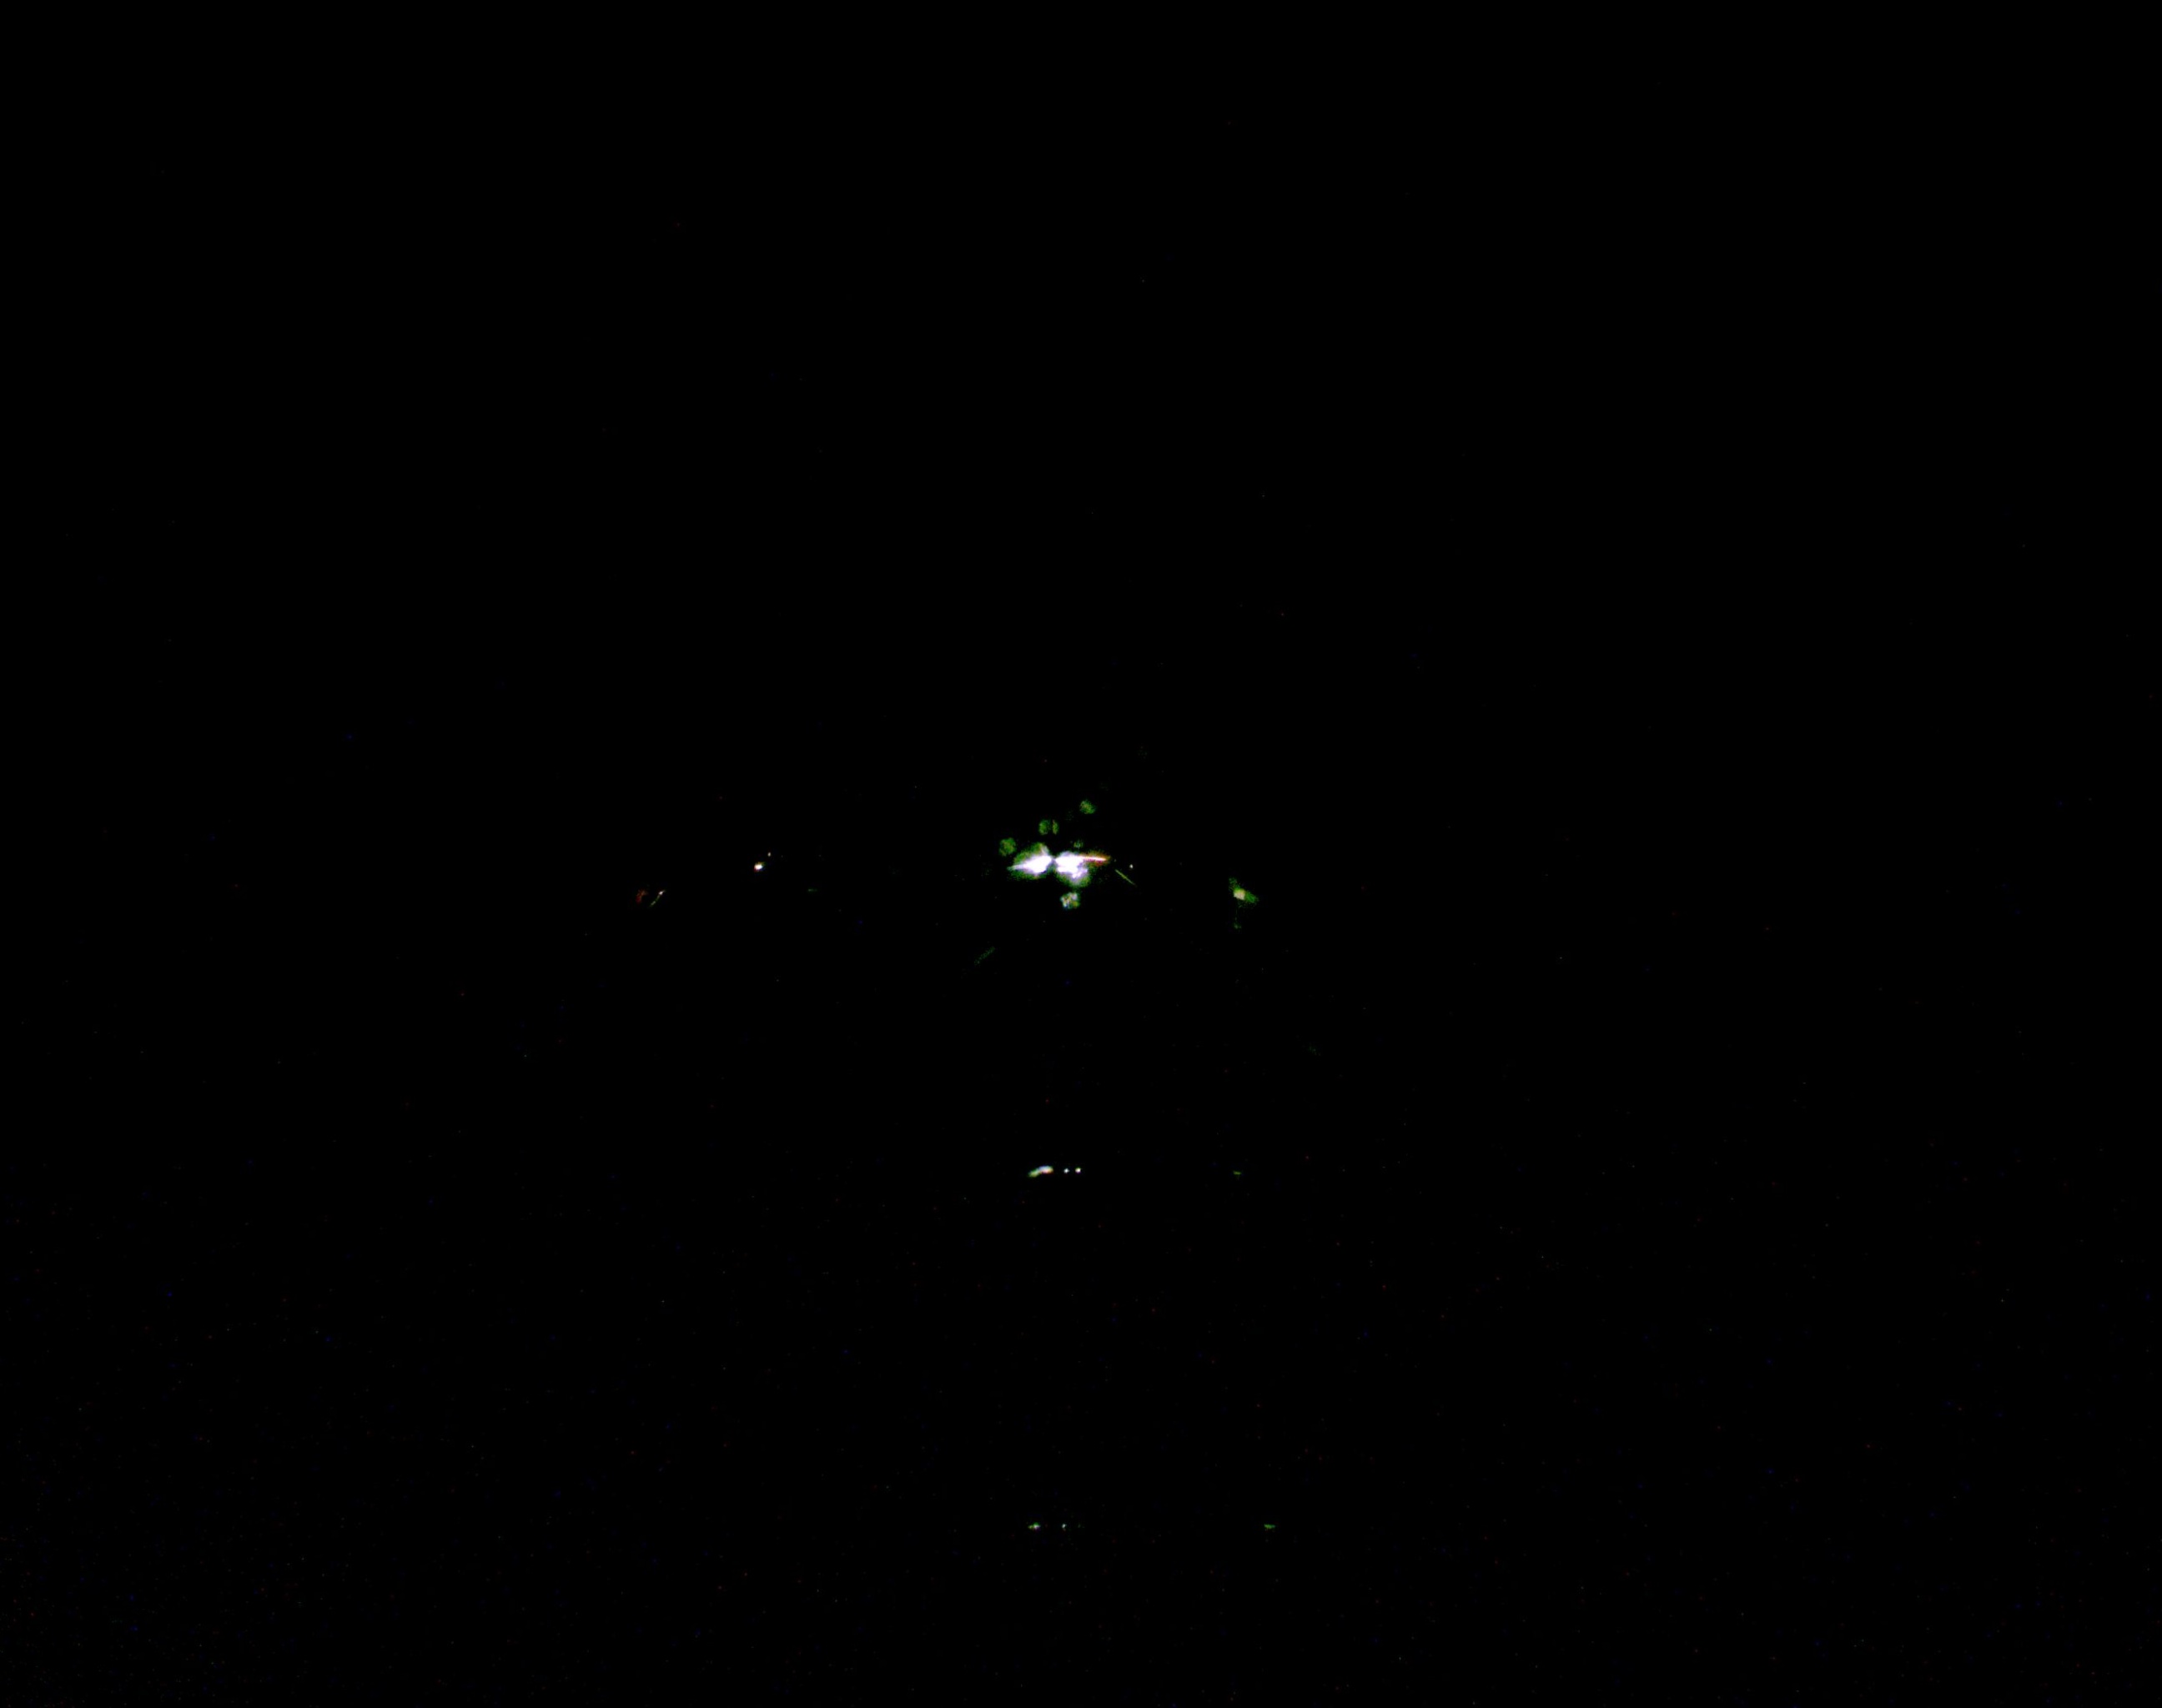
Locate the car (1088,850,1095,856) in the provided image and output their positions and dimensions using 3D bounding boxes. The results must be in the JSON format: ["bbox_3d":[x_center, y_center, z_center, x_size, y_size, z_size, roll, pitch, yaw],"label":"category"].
[{"bbox_3d":[3.171,-0.394,238.844,1.986,1.666,4.001,-1,0,1],"label":"car"}]

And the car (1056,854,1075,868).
[{"bbox_3d":[-1.889,0.858,98.274,2.090,1.639,4.456,-1,0,1],"label":"car"}]
